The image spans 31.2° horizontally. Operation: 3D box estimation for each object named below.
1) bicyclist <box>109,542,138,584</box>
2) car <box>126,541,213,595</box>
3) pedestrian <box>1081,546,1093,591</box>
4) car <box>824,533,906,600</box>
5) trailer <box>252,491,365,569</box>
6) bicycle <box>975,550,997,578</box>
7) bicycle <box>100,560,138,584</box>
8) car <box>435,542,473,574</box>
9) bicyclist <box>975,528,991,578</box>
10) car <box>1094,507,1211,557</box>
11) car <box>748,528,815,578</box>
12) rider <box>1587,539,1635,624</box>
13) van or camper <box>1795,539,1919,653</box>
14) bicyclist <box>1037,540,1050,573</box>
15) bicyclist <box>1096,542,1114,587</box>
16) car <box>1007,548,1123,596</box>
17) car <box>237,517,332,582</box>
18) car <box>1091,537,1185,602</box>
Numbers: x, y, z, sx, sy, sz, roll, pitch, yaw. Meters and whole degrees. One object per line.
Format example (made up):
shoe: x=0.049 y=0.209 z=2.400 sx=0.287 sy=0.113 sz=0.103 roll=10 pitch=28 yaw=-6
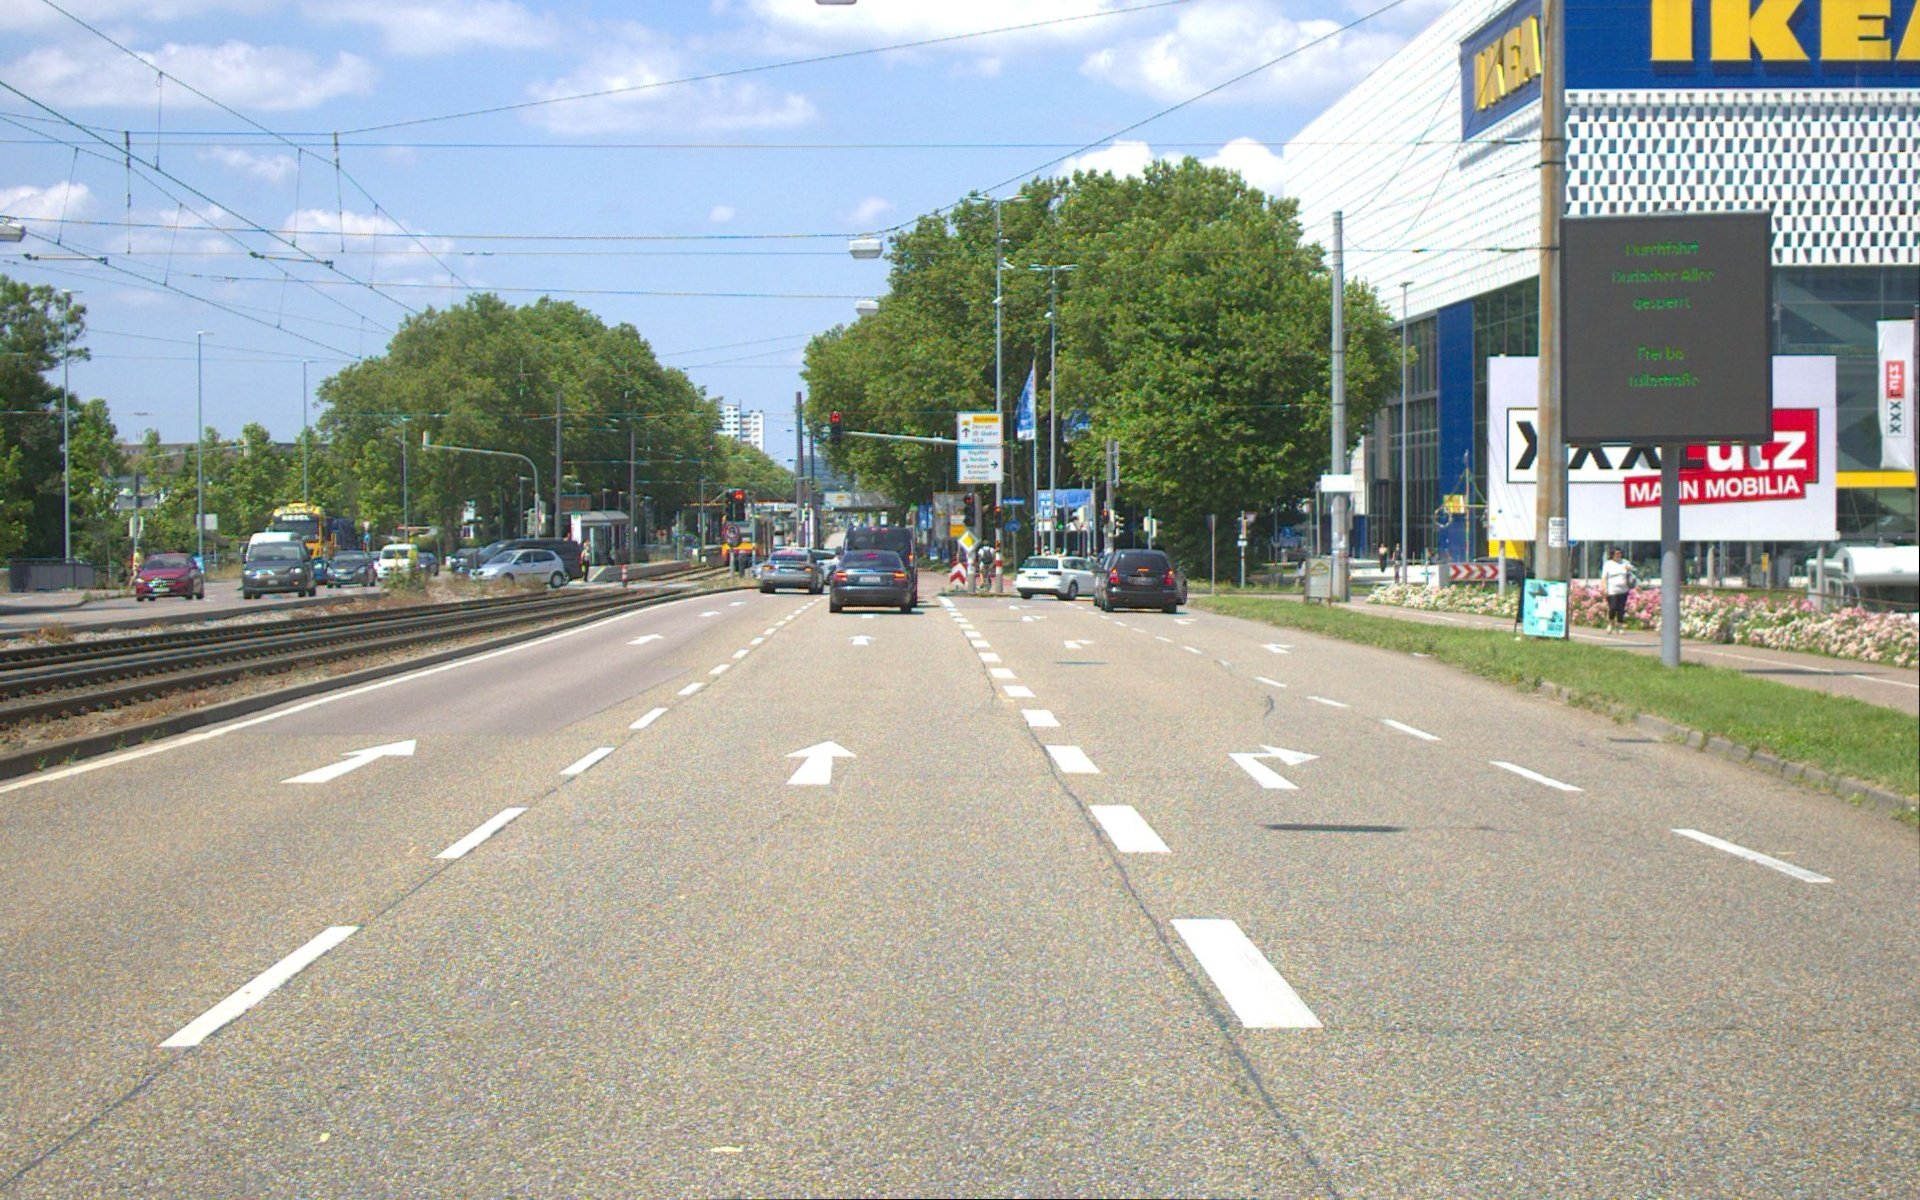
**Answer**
bicyclist: x=-35.548 y=-1.570 z=146.112 sx=1.118 sy=1.768 sz=0.341 roll=1 pitch=1 yaw=-5
car: x=-25.868 y=-1.062 z=112.603 sx=1.993 sy=1.664 sz=4.469 roll=-2 pitch=1 yaw=-3
pedestrian: x=4.630 y=-1.157 z=125.471 sx=0.381 sy=1.629 sz=0.377 roll=1 pitch=1 yaw=2
car: x=-2.141 y=-0.773 z=77.694 sx=1.792 sy=1.450 sz=4.000 roll=0 pitch=1 yaw=-1
trailer: x=-31.170 y=-3.315 z=165.067 sx=2.767 sy=3.506 sz=15.879 roll=1 pitch=1 yaw=-2
bicycle: x=0.928 y=-1.286 z=123.338 sx=0.687 sy=0.990 sz=2.752 roll=1 pitch=1 yaw=-1
bicycle: x=-35.726 y=-1.186 z=146.051 sx=1.490 sy=0.983 sz=0.486 roll=1 pitch=1 yaw=-5
car: x=-31.214 y=-2.598 z=212.176 sx=1.817 sy=1.876 sz=4.000 roll=1 pitch=1 yaw=-1
bicyclist: x=0.842 y=-1.679 z=123.955 sx=0.528 sy=1.783 sz=1.088 roll=1 pitch=0 yaw=-1
car: x=8.081 y=-2.873 z=144.413 sx=4.395 sy=1.911 sz=2.001 roll=2 pitch=1 yaw=-21
car: x=-5.742 y=-1.529 z=110.820 sx=1.993 sy=1.481 sz=4.000 roll=2 pitch=1 yaw=-1
rider: x=11.233 y=-0.323 z=59.324 sx=0.669 sy=1.452 sz=0.618 roll=1 pitch=1 yaw=-1
van or camper: x=25.311 y=-0.158 z=95.889 sx=2.507 sy=3.010 sz=7.223 roll=1 pitch=1 yaw=3
bicyclist: x=3.047 y=-1.568 z=125.288 sx=0.470 sy=1.189 sz=0.791 roll=1 pitch=0 yaw=2
bicyclist: x=5.710 y=-1.397 z=135.259 sx=0.529 sy=1.758 sz=0.827 roll=1 pitch=0 yaw=12
car: x=3.475 y=-0.904 z=113.231 sx=1.997 sy=1.481 sz=4.383 roll=3 pitch=1 yaw=29
car: x=-19.999 y=-1.506 z=101.998 sx=1.993 sy=1.824 sz=4.970 roll=-2 pitch=1 yaw=-3
car: x=4.406 y=-0.775 z=85.619 sx=1.993 sy=1.481 sz=4.000 roll=2 pitch=1 yaw=-1
